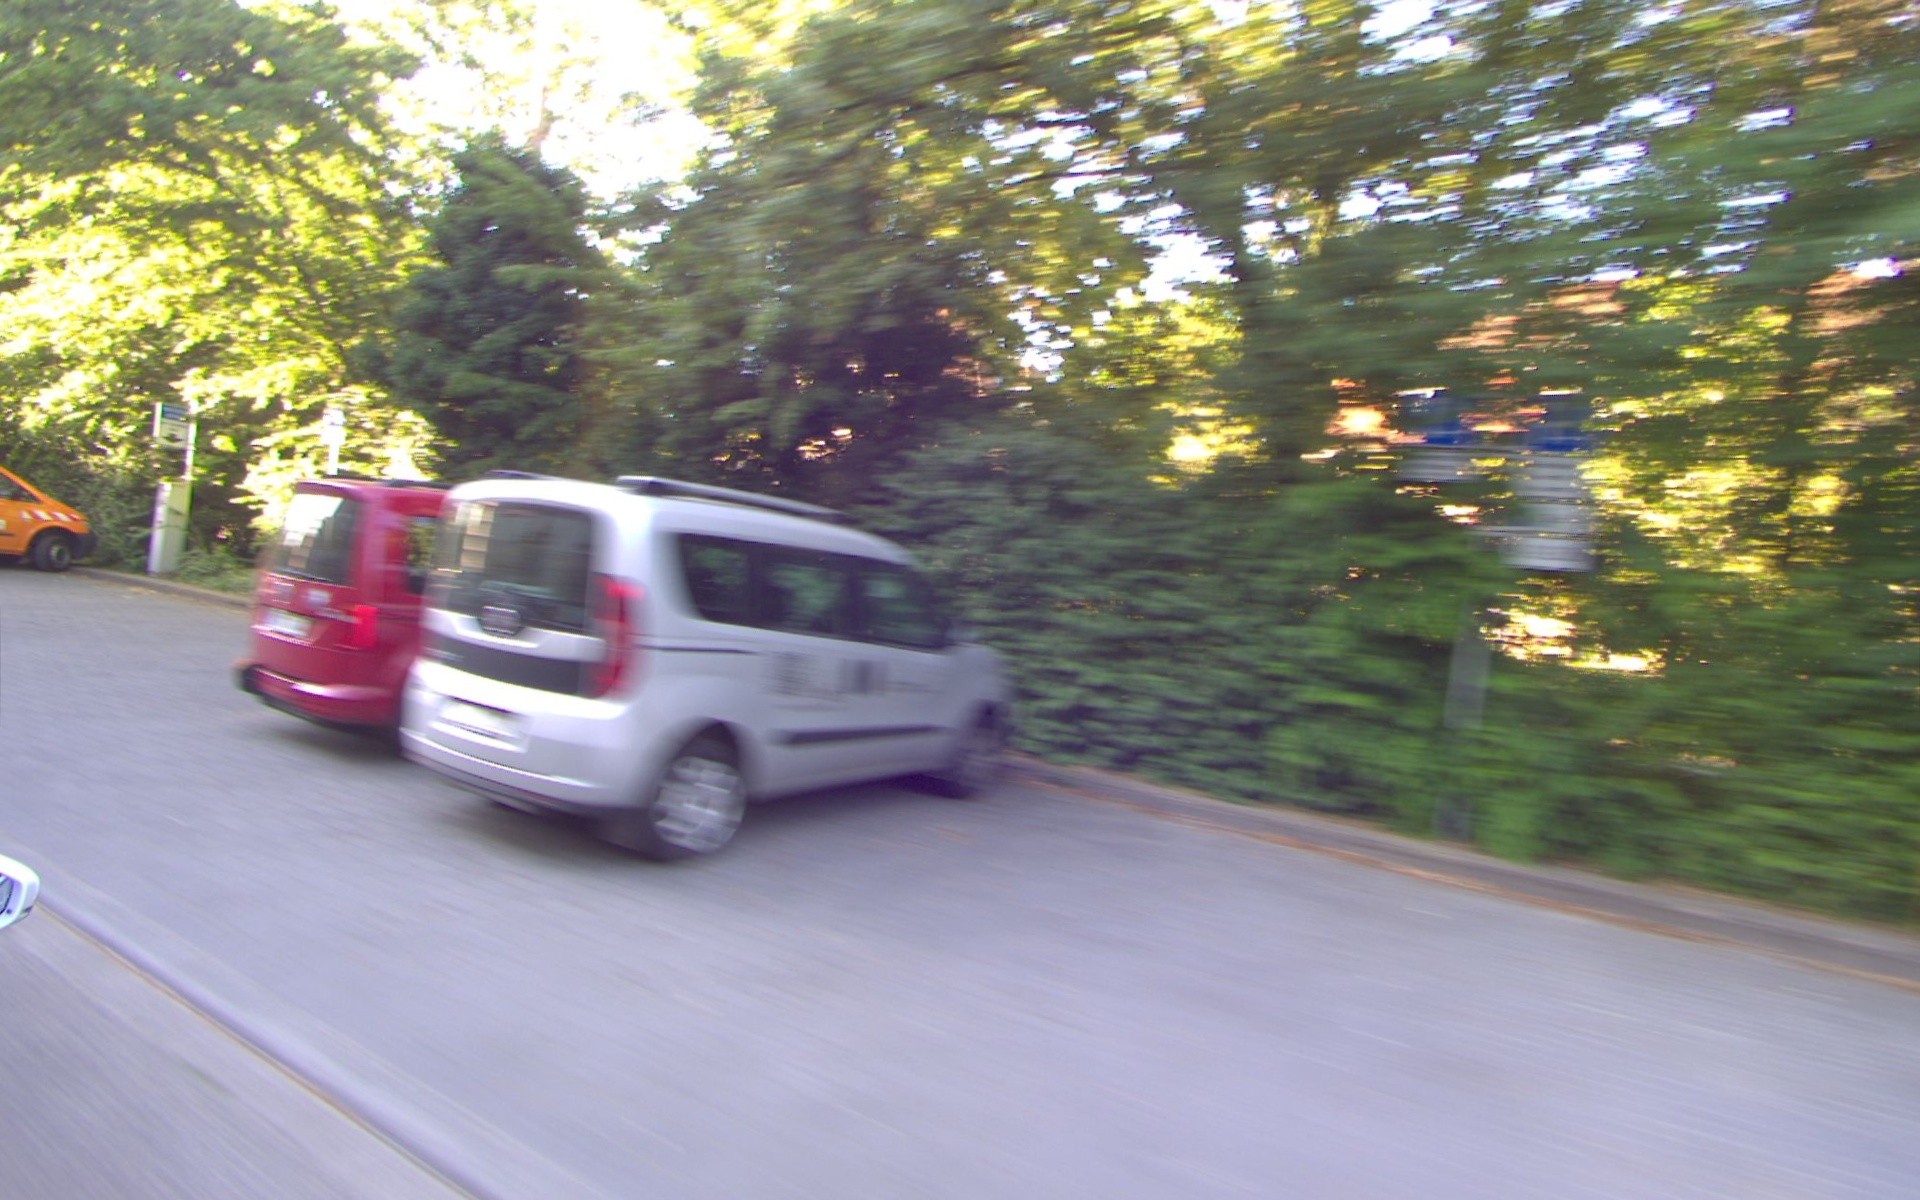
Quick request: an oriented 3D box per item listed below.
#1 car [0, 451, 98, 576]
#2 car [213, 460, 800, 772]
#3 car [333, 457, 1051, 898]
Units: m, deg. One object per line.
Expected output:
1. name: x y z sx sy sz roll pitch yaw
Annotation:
1. car: -17.505 -1.618 16.430 1.770 2.040 4.827 7 1 25
2. car: -3.338 0.149 8.197 1.588 1.859 4.025 7 1 33
3. car: -1.338 0.374 6.636 1.968 1.883 4.230 6 1 33
